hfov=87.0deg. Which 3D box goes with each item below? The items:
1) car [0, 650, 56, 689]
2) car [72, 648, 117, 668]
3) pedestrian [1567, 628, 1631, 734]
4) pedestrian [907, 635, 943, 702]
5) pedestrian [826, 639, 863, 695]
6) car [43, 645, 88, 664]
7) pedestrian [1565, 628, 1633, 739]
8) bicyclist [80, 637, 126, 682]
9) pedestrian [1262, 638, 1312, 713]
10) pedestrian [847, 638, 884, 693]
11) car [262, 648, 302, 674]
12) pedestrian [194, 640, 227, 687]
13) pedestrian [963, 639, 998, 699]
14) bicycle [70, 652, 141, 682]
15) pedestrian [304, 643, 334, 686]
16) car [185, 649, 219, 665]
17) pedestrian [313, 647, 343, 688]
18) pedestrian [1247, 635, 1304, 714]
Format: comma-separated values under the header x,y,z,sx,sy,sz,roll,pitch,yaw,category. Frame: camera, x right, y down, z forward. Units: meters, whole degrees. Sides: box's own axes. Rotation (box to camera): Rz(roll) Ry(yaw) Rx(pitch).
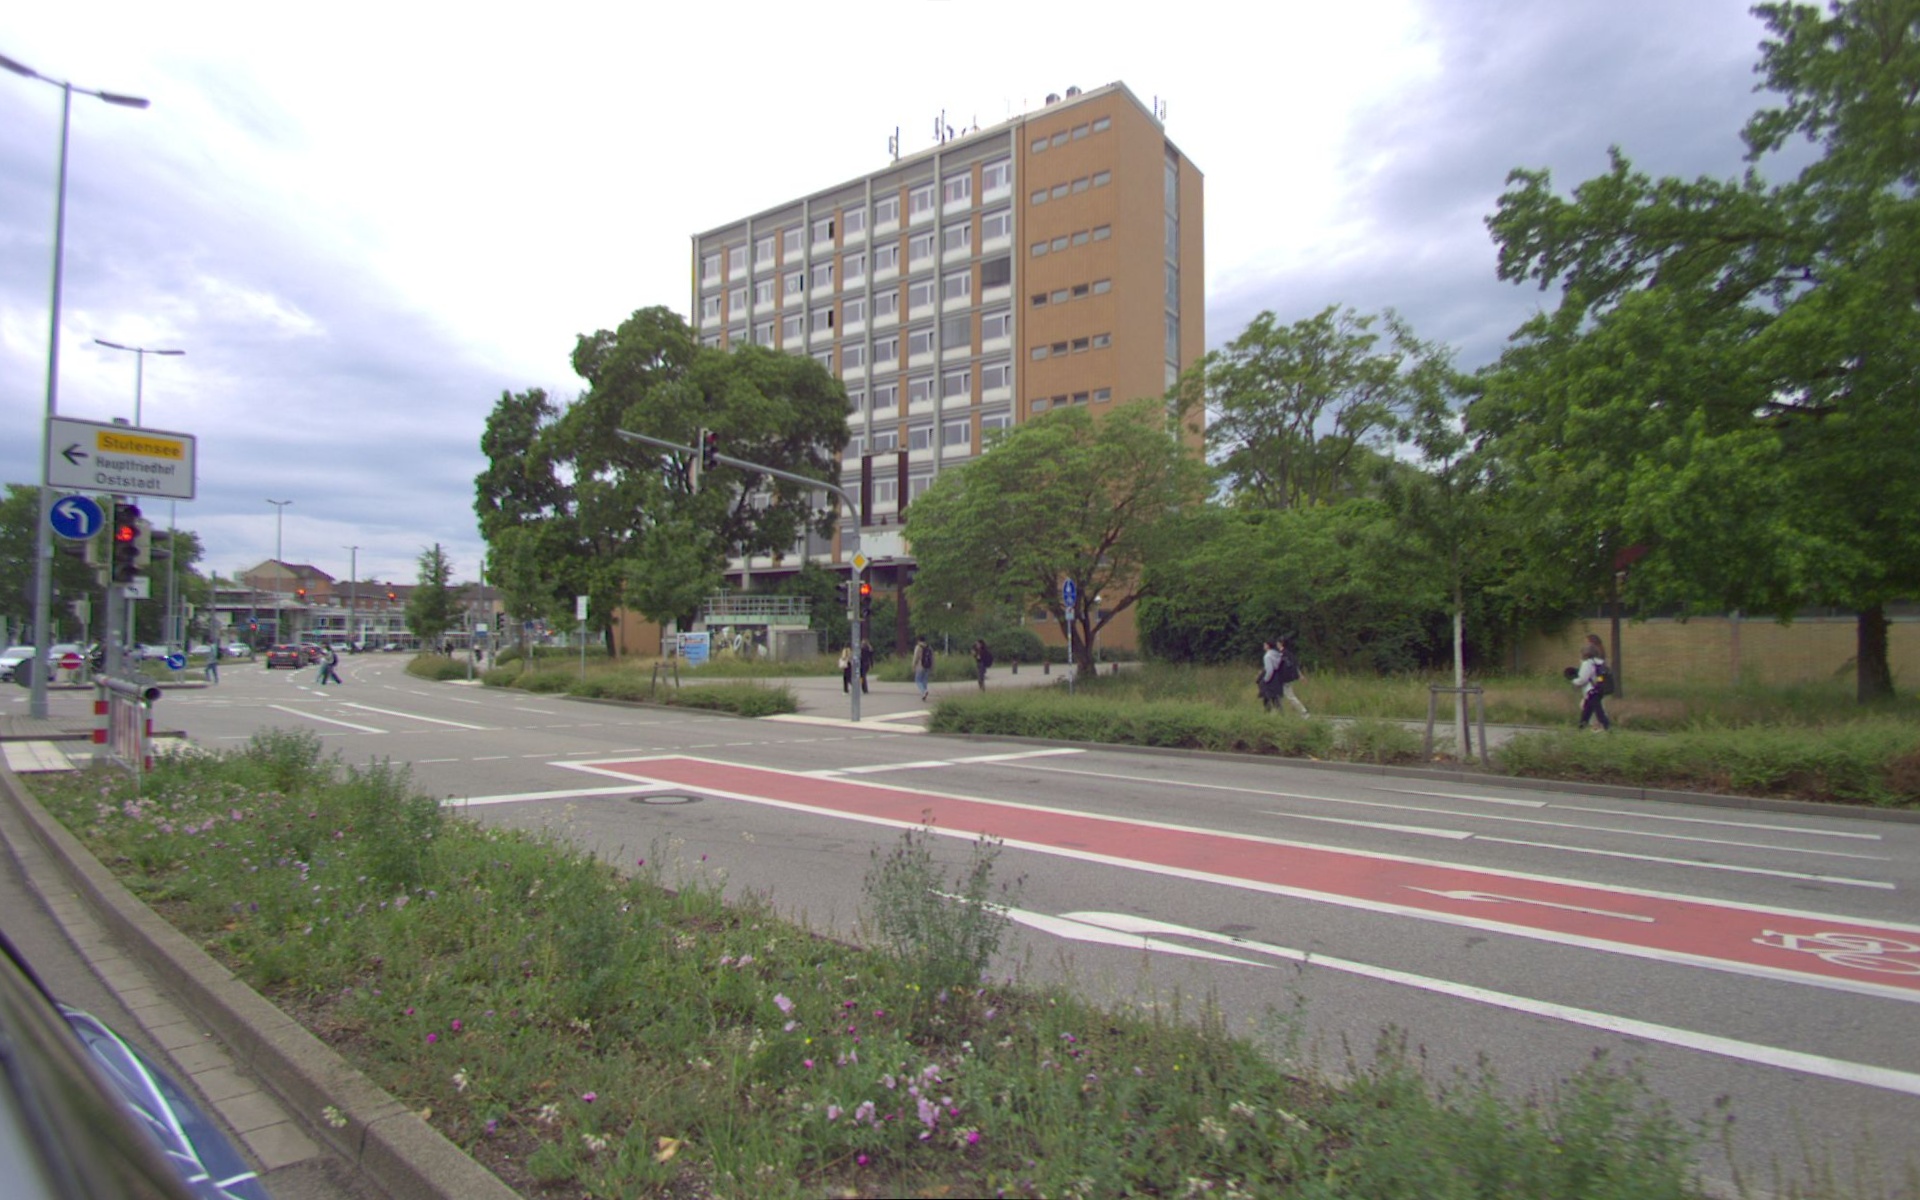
x,y,z,sx,sy,sz,roll,pitch,yaw,category
-38.830,2.833,41.851,1.758,1.474,3.880,1,-2,-36,car
-65.623,4.400,76.780,1.789,1.486,4.044,3,-4,-30,car
10.656,1.340,16.887,0.762,1.725,0.572,-3,-5,44,pedestrian
-0.963,1.880,27.887,0.762,1.815,0.630,-3,-4,43,pedestrian
-3.533,2.033,30.932,0.943,1.684,0.699,-3,-3,43,pedestrian
-78.161,4.808,88.492,1.583,1.608,3.770,2,-4,-19,car
10.233,1.326,16.208,0.614,1.708,0.747,4,-5,-42,pedestrian
-33.471,2.334,39.539,0.806,1.749,1.176,-3,-5,41,bicyclist
6.635,1.525,20.530,0.762,1.491,0.628,-3,-5,43,pedestrian
-2.948,2.022,31.490,0.890,1.683,0.699,-3,-3,43,pedestrian
-45.642,4.104,68.205,1.785,1.680,3.961,3,-3,-28,car
-28.968,2.459,39.130,0.904,1.818,0.541,3,-5,-34,pedestrian
0.576,1.932,28.430,0.823,1.625,0.631,-2,-2,18,pedestrian
-33.421,2.628,39.597,0.806,1.151,1.979,-3,-5,41,bicycle
-27.902,2.808,44.052,0.734,1.818,0.763,-1,-4,18,pedestrian
-77.301,5.817,103.230,1.583,1.608,3.770,2,-4,-19,car
-26.239,2.783,42.007,0.704,1.680,0.769,-2,-5,31,pedestrian
6.125,1.450,19.674,0.813,1.491,0.720,-3,-5,43,pedestrian
